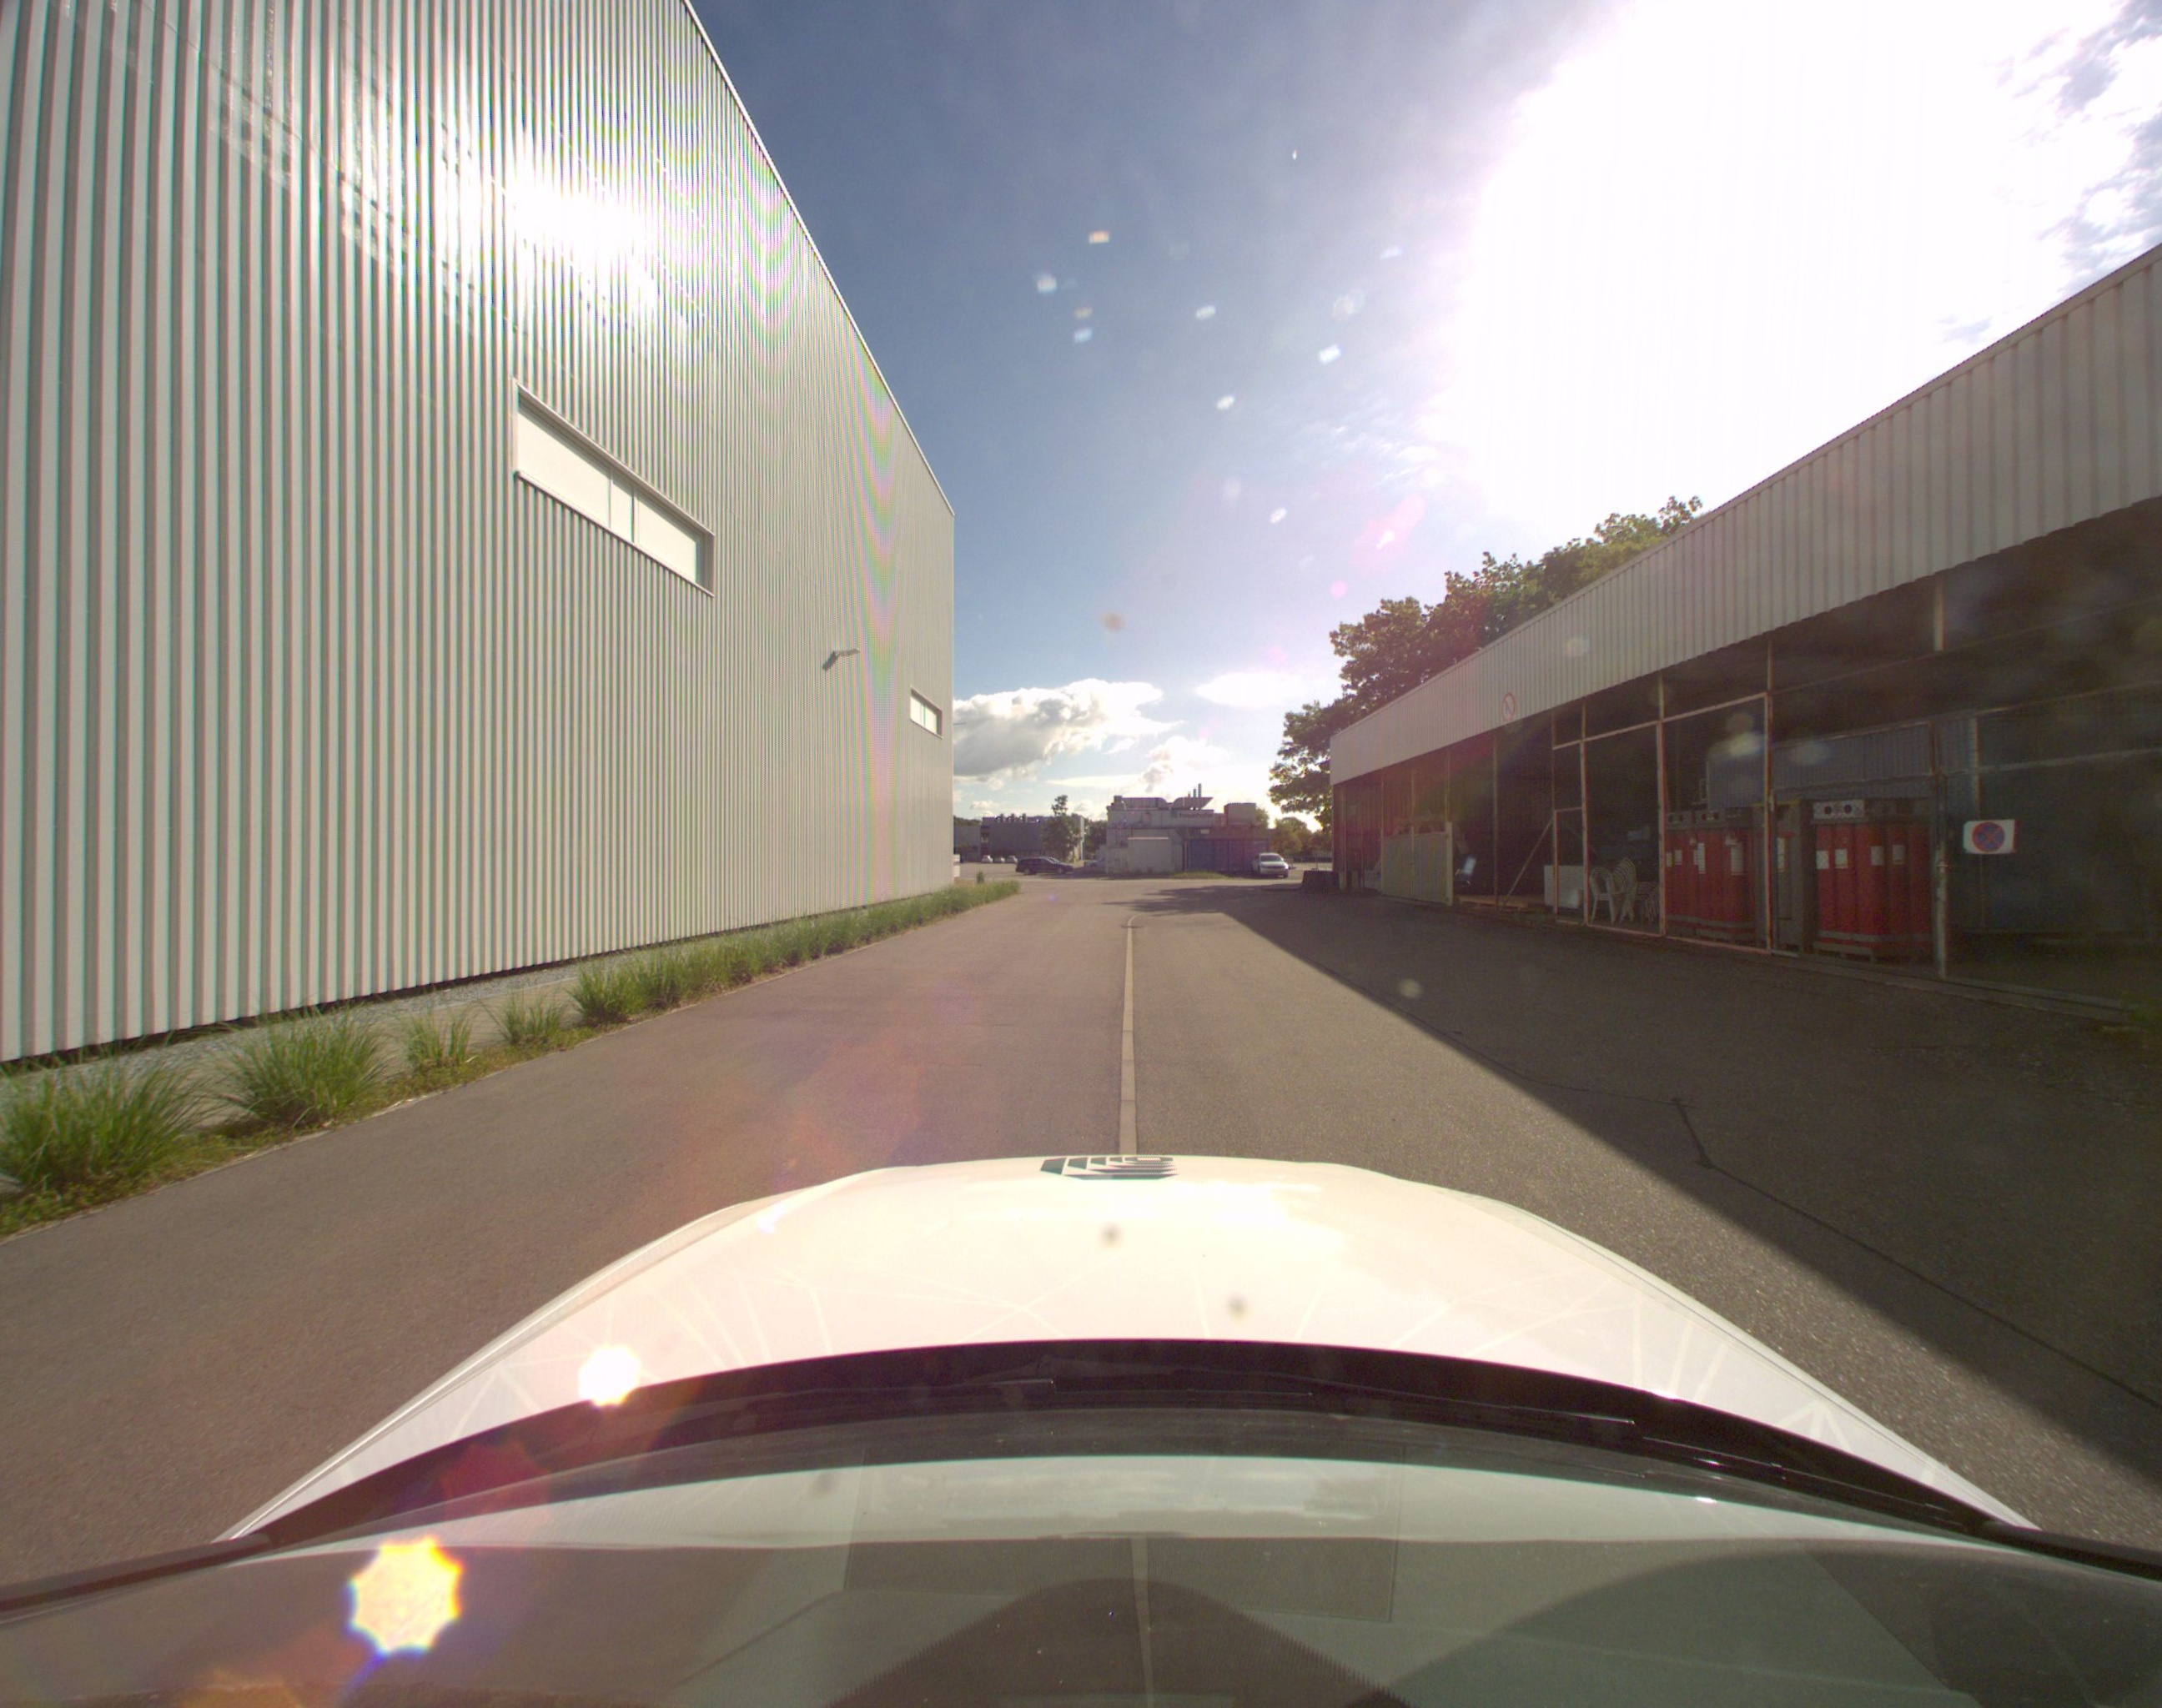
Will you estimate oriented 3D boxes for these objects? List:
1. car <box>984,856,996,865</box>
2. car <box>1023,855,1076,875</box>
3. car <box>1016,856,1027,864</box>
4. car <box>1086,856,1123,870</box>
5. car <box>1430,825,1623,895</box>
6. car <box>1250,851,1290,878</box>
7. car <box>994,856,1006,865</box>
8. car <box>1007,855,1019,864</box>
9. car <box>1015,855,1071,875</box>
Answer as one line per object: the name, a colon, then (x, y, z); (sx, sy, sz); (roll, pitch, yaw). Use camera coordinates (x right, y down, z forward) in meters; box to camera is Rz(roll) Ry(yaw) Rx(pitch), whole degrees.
car: (-18.605, 1.330, 166.300); (1.791, 1.712, 4.049); (-2, -1, 2)
car: (-2.777, 0.968, 71.838); (4.429, 1.531, 1.825); (-2, -1, 2)
car: (-11.959, 1.199, 164.175); (1.851, 1.494, 4.031); (-2, -1, 2)
car: (2.759, 1.077, 95.863); (4.285, 1.457, 1.825); (-2, -1, 2)
car: (13.255, 0.174, 24.391); (4.761, 1.916, 1.996); (-1, -1, -5)
car: (12.694, 0.664, 54.938); (1.970, 1.602, 4.383); (-2, 1, 5)
car: (-16.515, 1.294, 165.809); (1.969, 1.678, 4.001); (-2, -1, 2)
car: (-13.911, 1.186, 166.110); (1.958, 1.712, 4.031); (-2, -1, 2)
car: (-3.138, 0.935, 68.202); (4.429, 1.531, 1.825); (-2, -1, 2)
